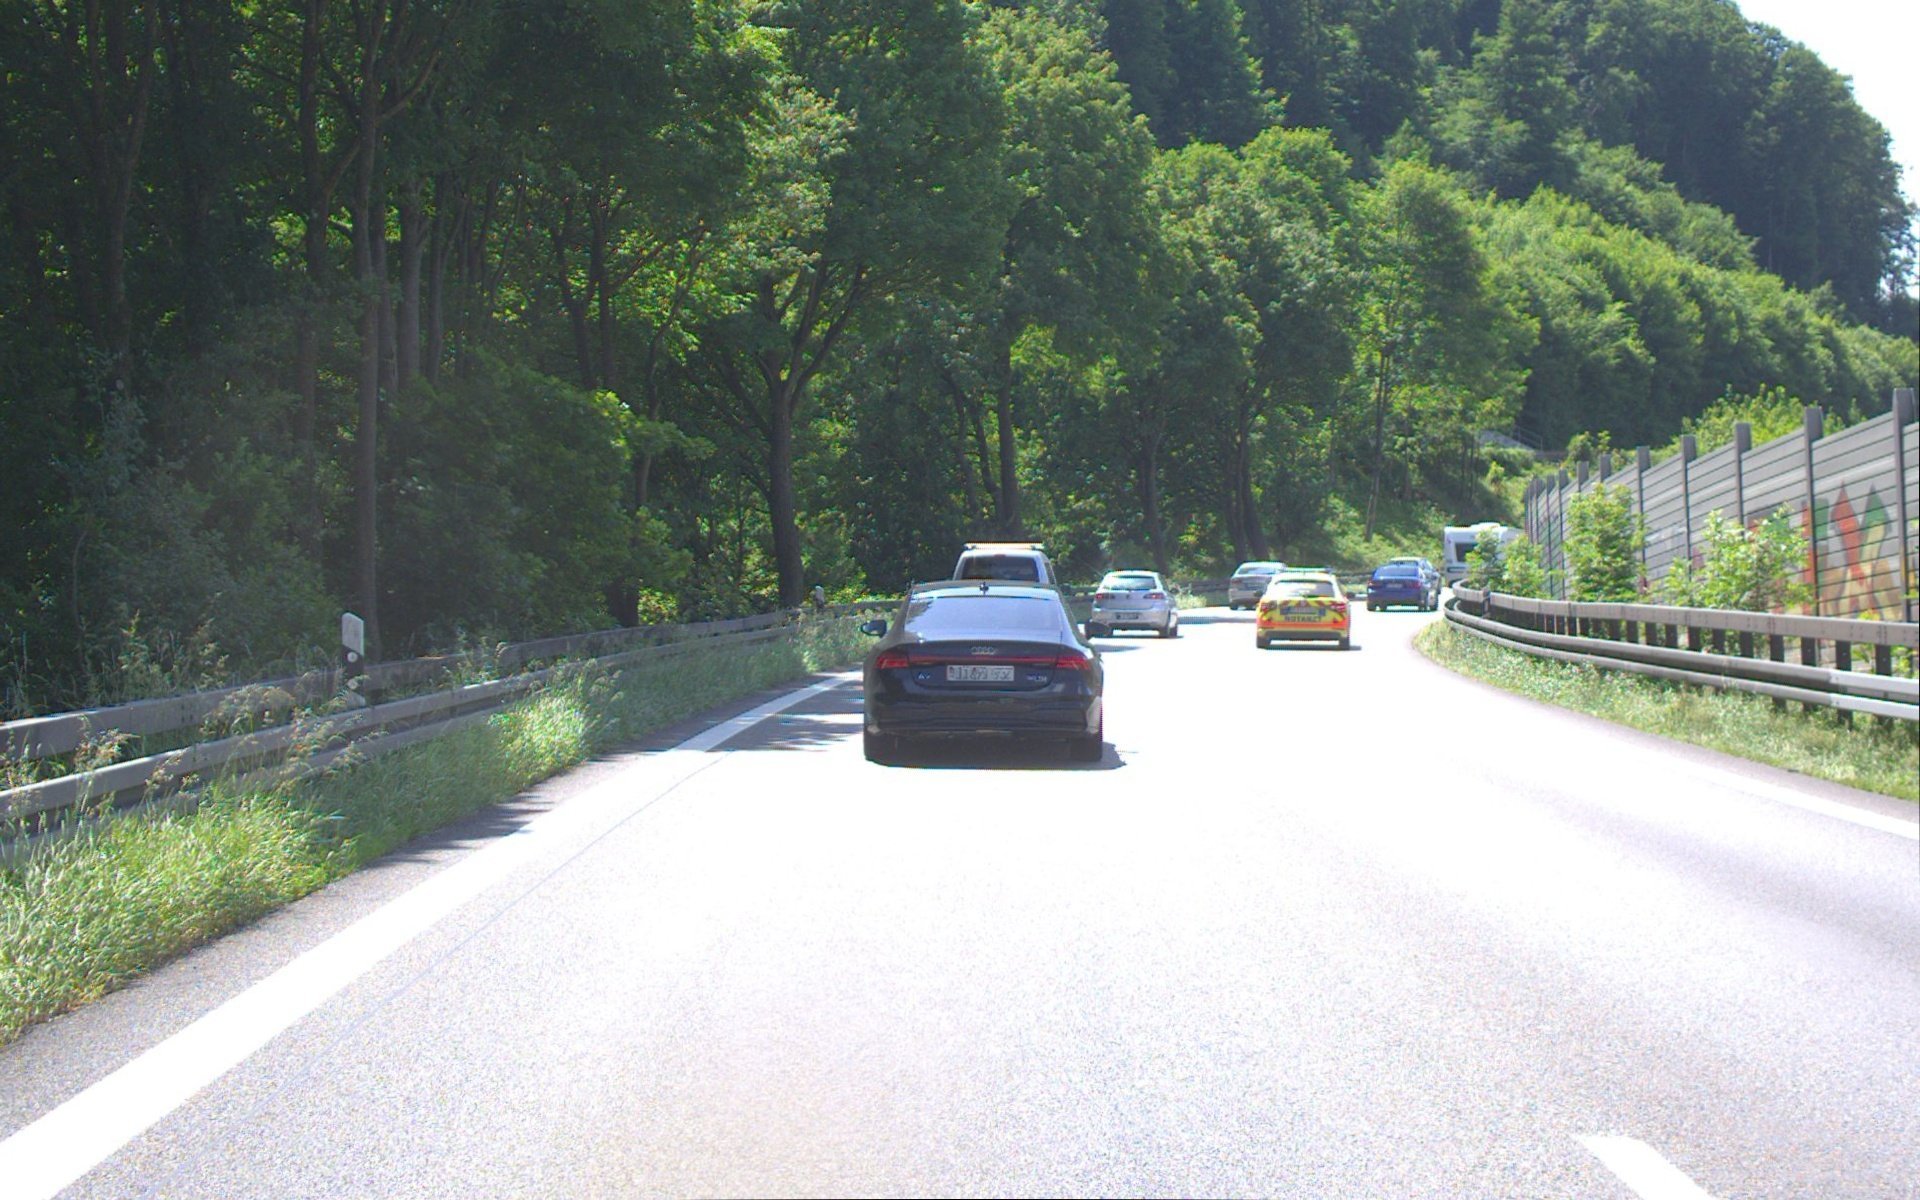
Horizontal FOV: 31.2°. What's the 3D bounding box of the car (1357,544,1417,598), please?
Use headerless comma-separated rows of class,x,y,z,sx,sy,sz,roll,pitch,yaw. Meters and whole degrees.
car,13.220,-0.880,106.581,1.774,1.631,3.999,0,0,6

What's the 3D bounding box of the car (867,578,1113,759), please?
car,0.197,0.517,27.978,1.837,1.345,4.000,-1,0,-1

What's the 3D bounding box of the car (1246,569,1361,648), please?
car,6.644,0.158,66.839,1.863,1.483,4.000,-1,0,1

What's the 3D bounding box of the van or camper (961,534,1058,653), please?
van or camper,0.760,-0.107,54.672,1.391,1.809,4.000,-1,0,-1

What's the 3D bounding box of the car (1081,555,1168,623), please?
car,3.539,-0.231,74.512,1.747,1.426,4.000,-1,0,1

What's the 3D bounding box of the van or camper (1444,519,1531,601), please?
van or camper,19.457,-1.443,126.547,2.457,2.908,6.121,-1,0,15

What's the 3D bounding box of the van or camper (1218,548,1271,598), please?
van or camper,8.923,-0.831,107.785,1.558,1.529,3.504,-1,0,6
